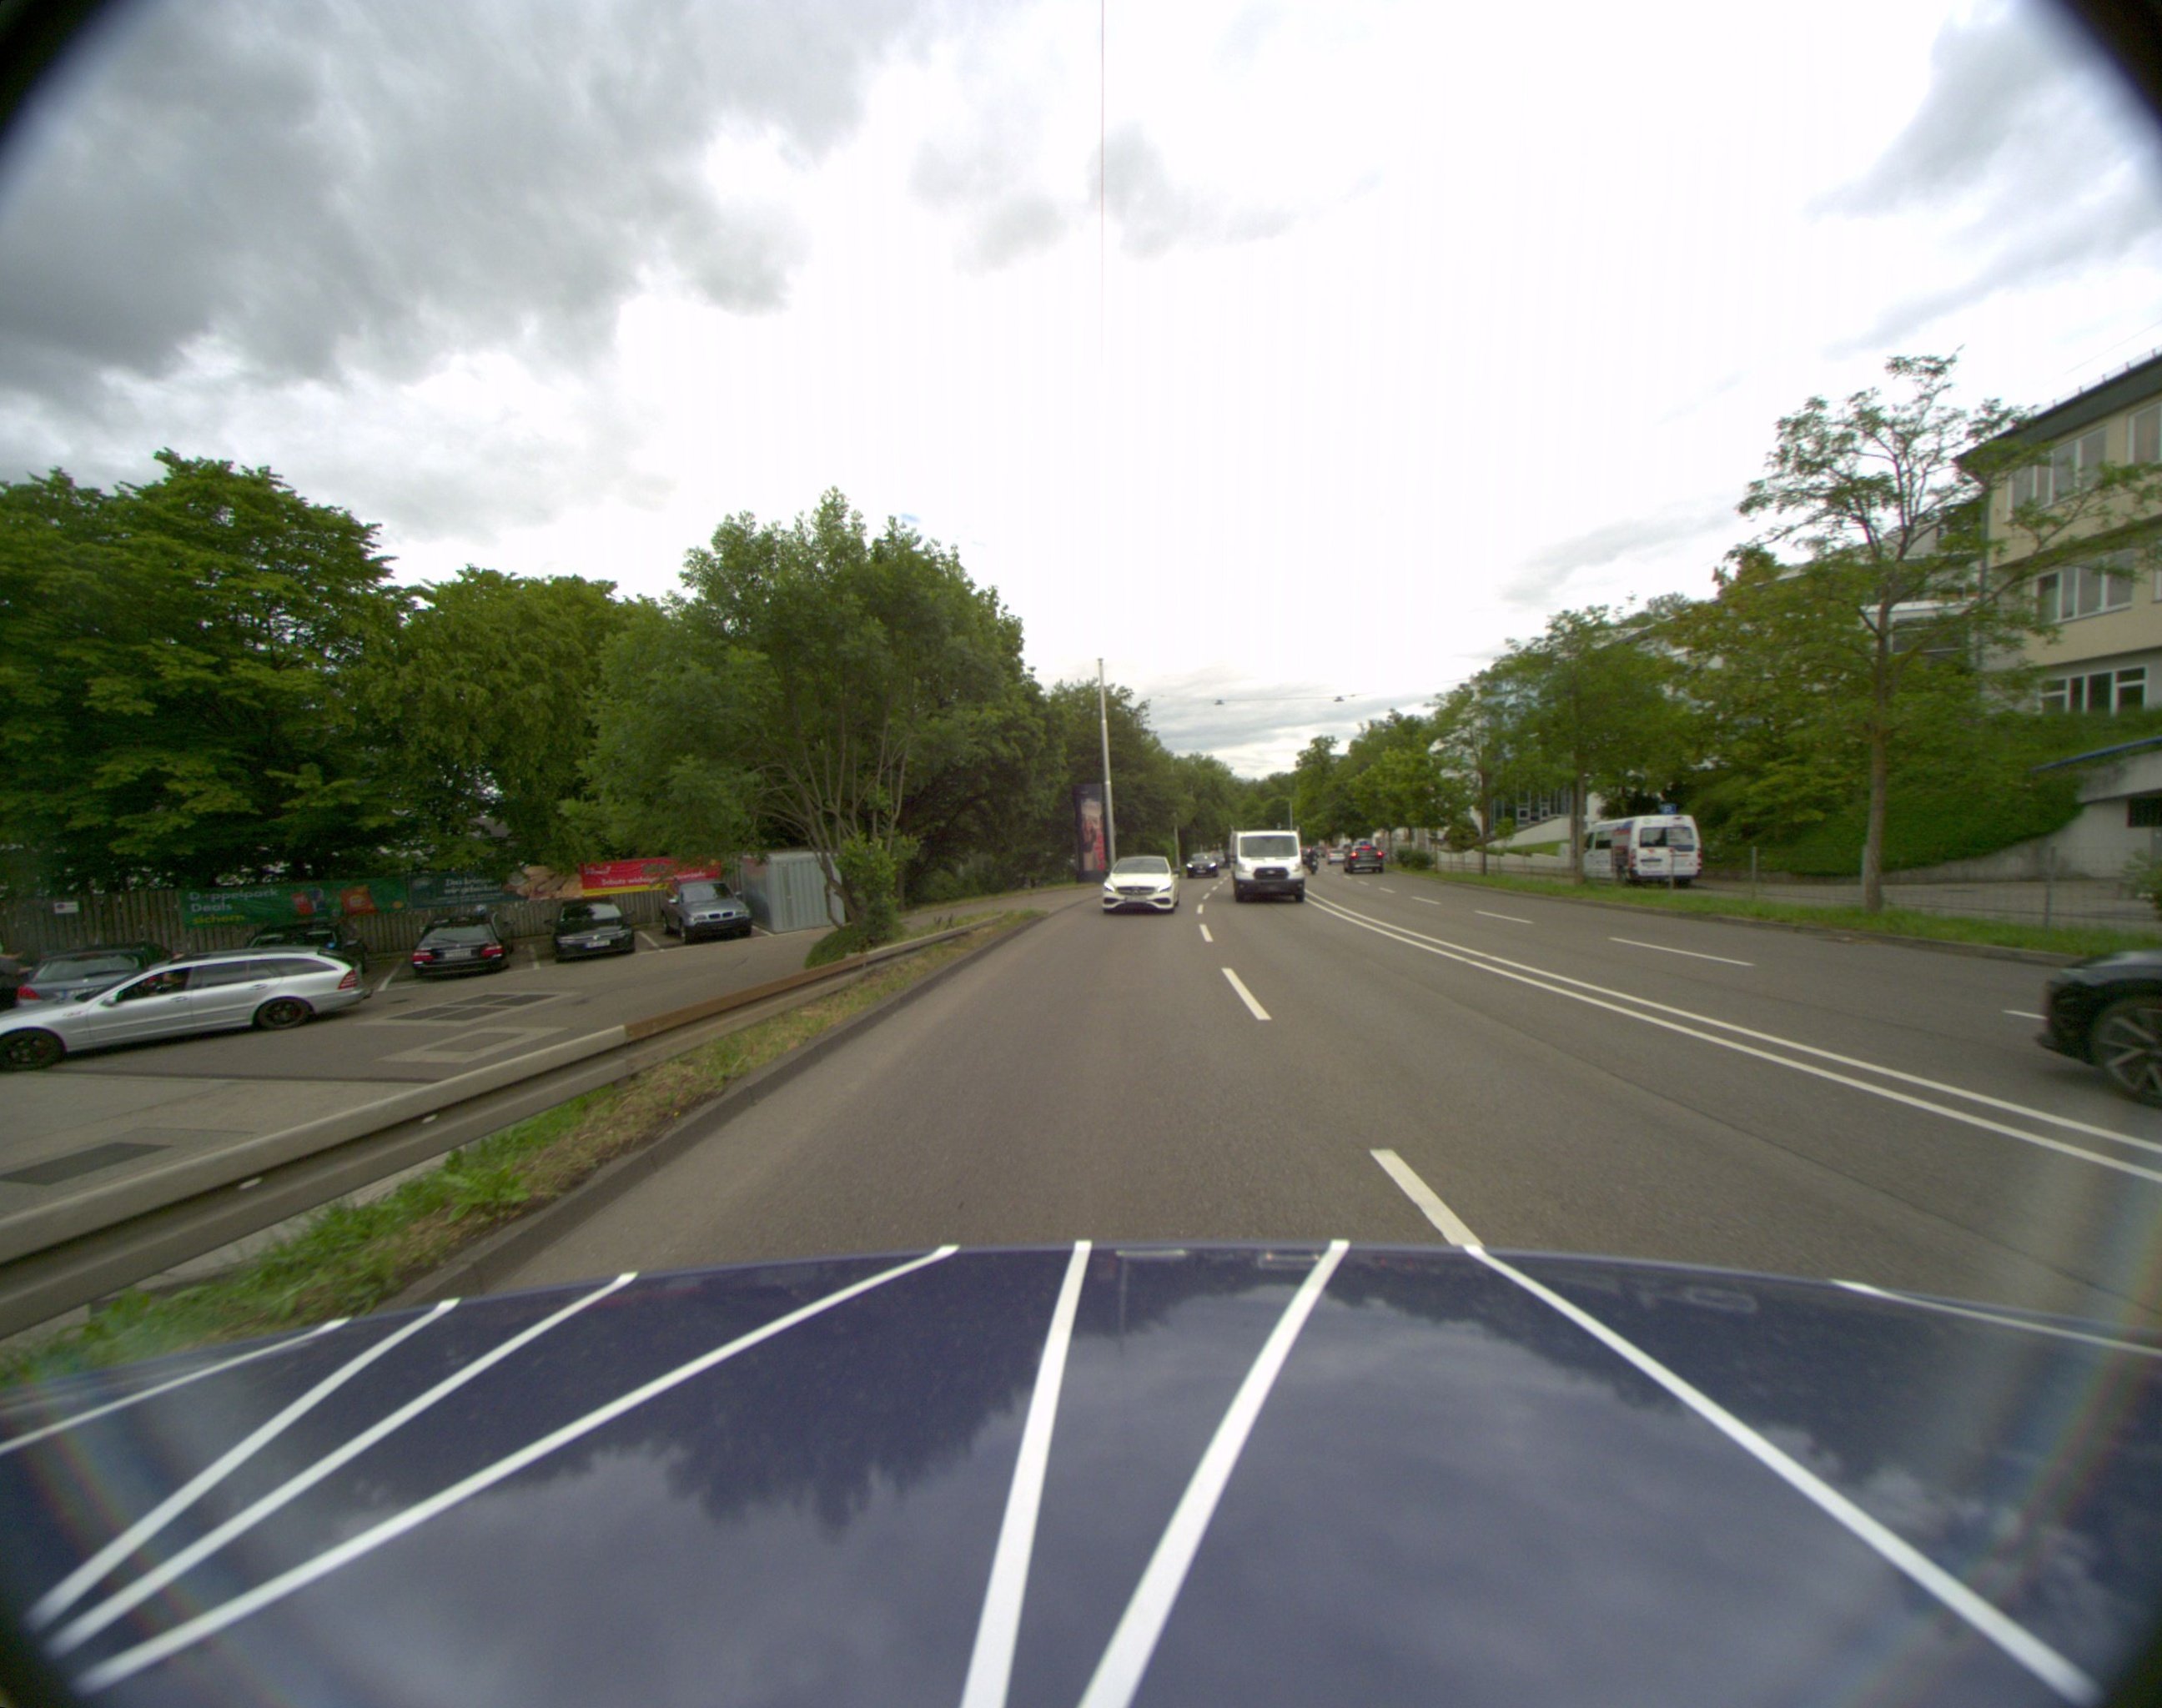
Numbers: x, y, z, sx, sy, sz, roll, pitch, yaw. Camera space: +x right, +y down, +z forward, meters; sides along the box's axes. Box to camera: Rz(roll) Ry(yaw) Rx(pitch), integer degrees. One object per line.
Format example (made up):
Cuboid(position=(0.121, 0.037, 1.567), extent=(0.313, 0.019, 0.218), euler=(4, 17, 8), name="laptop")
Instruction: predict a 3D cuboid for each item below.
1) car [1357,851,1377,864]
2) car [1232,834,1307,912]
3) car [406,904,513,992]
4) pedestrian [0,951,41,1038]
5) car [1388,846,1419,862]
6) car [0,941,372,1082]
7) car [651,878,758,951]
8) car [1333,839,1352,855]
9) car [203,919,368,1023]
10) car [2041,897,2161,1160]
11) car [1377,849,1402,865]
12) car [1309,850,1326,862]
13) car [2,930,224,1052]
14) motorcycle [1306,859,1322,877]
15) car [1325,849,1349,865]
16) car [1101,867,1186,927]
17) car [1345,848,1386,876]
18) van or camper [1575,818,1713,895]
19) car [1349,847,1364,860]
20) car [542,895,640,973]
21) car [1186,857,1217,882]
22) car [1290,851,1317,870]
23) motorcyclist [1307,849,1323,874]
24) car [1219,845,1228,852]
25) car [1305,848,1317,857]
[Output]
Cuboid(position=(32.534, 0.376, 86.521), extent=(1.670, 1.495, 4.242), euler=(-1, 0, 15), name="car")
Cuboid(position=(5.932, 0.570, 24.575), extent=(1.997, 2.161, 6.274), euler=(-2, -1, 11), name="car")
Cuboid(position=(-15.415, 2.229, 19.052), extent=(1.737, 1.428, 4.281), euler=(-6, 5, -36), name="car")
Cuboid(position=(-19.866, 2.610, 14.097), extent=(0.470, 1.530, 0.430), euler=(-7, 1, -39), name="pedestrian")
Cuboid(position=(29.312, -0.029, 69.089), extent=(1.676, 1.420, 4.421), euler=(1, 0, 11), name="car")
Cuboid(position=(-15.399, 2.594, 13.274), extent=(4.301, 1.424, 1.597), euler=(-4, 4, -43), name="car")
Cuboid(position=(-11.166, 1.678, 22.391), extent=(1.737, 1.583, 4.280), euler=(-7, 6, -40), name="car")
Cuboid(position=(43.692, -1.098, 127.050), extent=(1.997, 2.511, 6.539), euler=(-3, 0, 11), name="car")
Cuboid(position=(-17.354, 2.438, 16.806), extent=(1.738, 1.428, 4.205), euler=(-3, 4, -36), name="car")
Cuboid(position=(6.749, 0.950, 2.449), extent=(1.740, 1.406, 4.429), euler=(-1, 0, 1), name="car")
Cuboid(position=(30.234, 0.268, 74.508), extent=(1.675, 1.420, 4.094), euler=(-1, 0, 13), name="car")
Cuboid(position=(35.185, 0.246, 112.995), extent=(1.767, 1.698, 4.874), euler=(-2, 0, 11), name="car")
Cuboid(position=(-19.030, 2.578, 15.183), extent=(1.631, 1.511, 4.088), euler=(-3, 3, -36), name="car")
Cuboid(position=(14.082, 0.845, 45.973), extent=(0.484, 1.050, 2.269), euler=(-1, 0, 6), name="motorcycle")
Cuboid(position=(23.437, 0.272, 69.707), extent=(1.568, 1.423, 3.894), euler=(-2, 0, 12), name="car")
Cuboid(position=(1.745, 1.051, 20.032), extent=(1.819, 1.339, 4.003), euler=(0, 0, 11), name="car")
Cuboid(position=(16.854, 0.482, 45.156), extent=(1.787, 1.566, 4.473), euler=(-1, 0, 14), name="car")
Cuboid(position=(20.111, 0.085, 27.515), extent=(1.996, 2.458, 5.716), euler=(-1, 0, 15), name="van or camper")
Cuboid(position=(40.638, -0.077, 112.241), extent=(1.808, 1.741, 4.255), euler=(-3, 0, 17), name="car")
Cuboid(position=(-13.289, 2.040, 20.511), extent=(1.737, 1.419, 4.281), euler=(-7, 5, -37), name="car")
Cuboid(position=(7.574, 0.949, 47.352), extent=(1.732, 1.402, 4.003), euler=(-3, 0, 11), name="car")
Cuboid(position=(18.568, 0.543, 63.507), extent=(1.788, 1.529, 4.079), euler=(-2, 0, 12), name="car")
Cuboid(position=(14.094, 0.458, 45.856), extent=(0.761, 1.476, 0.961), euler=(1, 1, 8), name="motorcyclist")
Cuboid(position=(35.987, -1.381, 191.904), extent=(1.997, 1.880, 4.002), euler=(-1, 0, 7), name="car")
Cuboid(position=(41.002, -0.223, 135.620), extent=(1.581, 1.434, 3.297), euler=(-3, 0, 8), name="car")
